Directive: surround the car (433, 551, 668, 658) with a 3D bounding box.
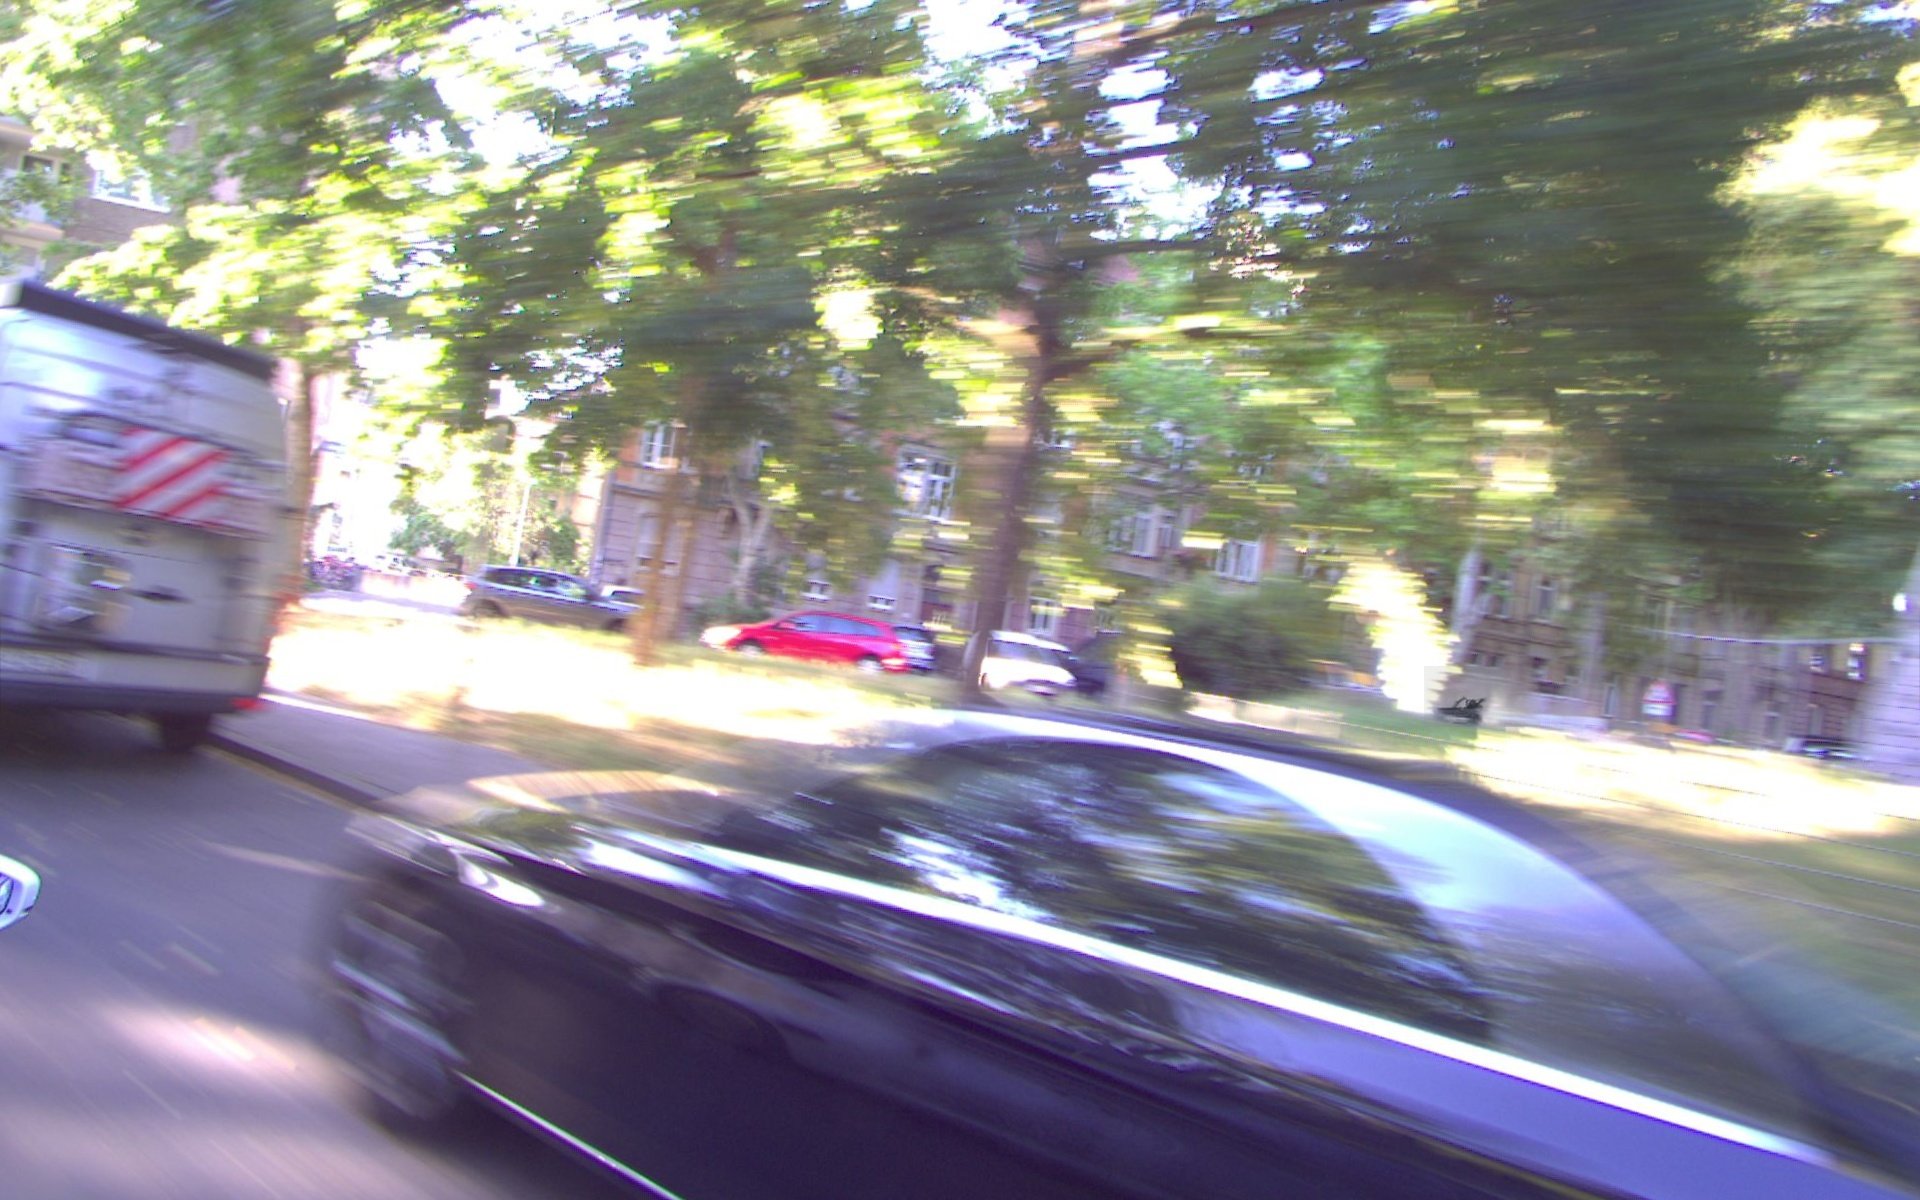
[{"bbox_3d":[-8.509,0.163,21.289,4.209,1.567,1.741,9,-5,-13],"label":"car"}]

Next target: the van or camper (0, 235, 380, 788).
[{"bbox_3d":[-6.906,-0.626,7.290,5.751,2.793,2.087,7,-2,34],"label":"van or camper"}]

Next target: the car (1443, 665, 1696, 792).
[{"bbox_3d":[15.938,3.275,26.800,2.335,2.483,5.496,8,-2,-14],"label":"car"}]

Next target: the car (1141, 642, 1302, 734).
[{"bbox_3d":[6.181,2.099,24.365,1.758,1.794,4.399,9,-6,-13],"label":"car"}]

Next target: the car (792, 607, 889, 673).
[{"bbox_3d":[-3.824,1.203,31.563,1.885,1.636,3.758,9,-2,-23],"label":"car"}]

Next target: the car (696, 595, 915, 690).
[{"bbox_3d":[-3.515,0.980,22.743,4.576,1.465,1.740,8,-3,-16],"label":"car"}]

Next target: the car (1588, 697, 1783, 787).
[{"bbox_3d":[20.261,3.931,28.311,1.969,1.803,3.991,8,-2,-14],"label":"car"}]

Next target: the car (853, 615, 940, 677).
[{"bbox_3d":[-2.146,1.485,33.151,1.630,1.614,3.631,8,-2,-22],"label":"car"}]

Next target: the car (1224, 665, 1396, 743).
[{"bbox_3d":[8.436,2.486,24.693,1.758,1.507,4.399,9,-6,-13],"label":"car"}]

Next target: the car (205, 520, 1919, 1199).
[{"bbox_3d":[0.056,0.837,2.663,4.415,1.543,1.684,7,-2,32],"label":"car"}]

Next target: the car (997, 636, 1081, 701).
[{"bbox_3d":[2.610,2.266,34.314,1.706,1.650,4.478,9,-1,-8],"label":"car"}]

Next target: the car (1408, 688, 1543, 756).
[{"bbox_3d":[20.144,4.741,39.558,1.712,1.786,4.568,9,0,-21],"label":"car"}]

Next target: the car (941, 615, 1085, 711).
[{"bbox_3d":[1.054,1.414,22.440,1.708,1.724,4.396,9,-6,-15],"label":"car"}]

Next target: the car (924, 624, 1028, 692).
[{"bbox_3d":[0.437,1.869,33.512,1.712,1.650,4.461,9,-1,-21],"label":"car"}]

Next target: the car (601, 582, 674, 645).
[{"bbox_3d":[-9.906,0.368,30.734,1.712,1.490,3.980,9,-1,-21],"label":"car"}]

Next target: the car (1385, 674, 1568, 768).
[{"bbox_3d":[13.349,3.076,26.291,1.969,1.803,3.991,8,-2,-14],"label":"car"}]

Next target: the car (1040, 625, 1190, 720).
[{"bbox_3d":[3.510,1.693,23.627,1.758,1.794,4.399,9,-6,-13],"label":"car"}]
